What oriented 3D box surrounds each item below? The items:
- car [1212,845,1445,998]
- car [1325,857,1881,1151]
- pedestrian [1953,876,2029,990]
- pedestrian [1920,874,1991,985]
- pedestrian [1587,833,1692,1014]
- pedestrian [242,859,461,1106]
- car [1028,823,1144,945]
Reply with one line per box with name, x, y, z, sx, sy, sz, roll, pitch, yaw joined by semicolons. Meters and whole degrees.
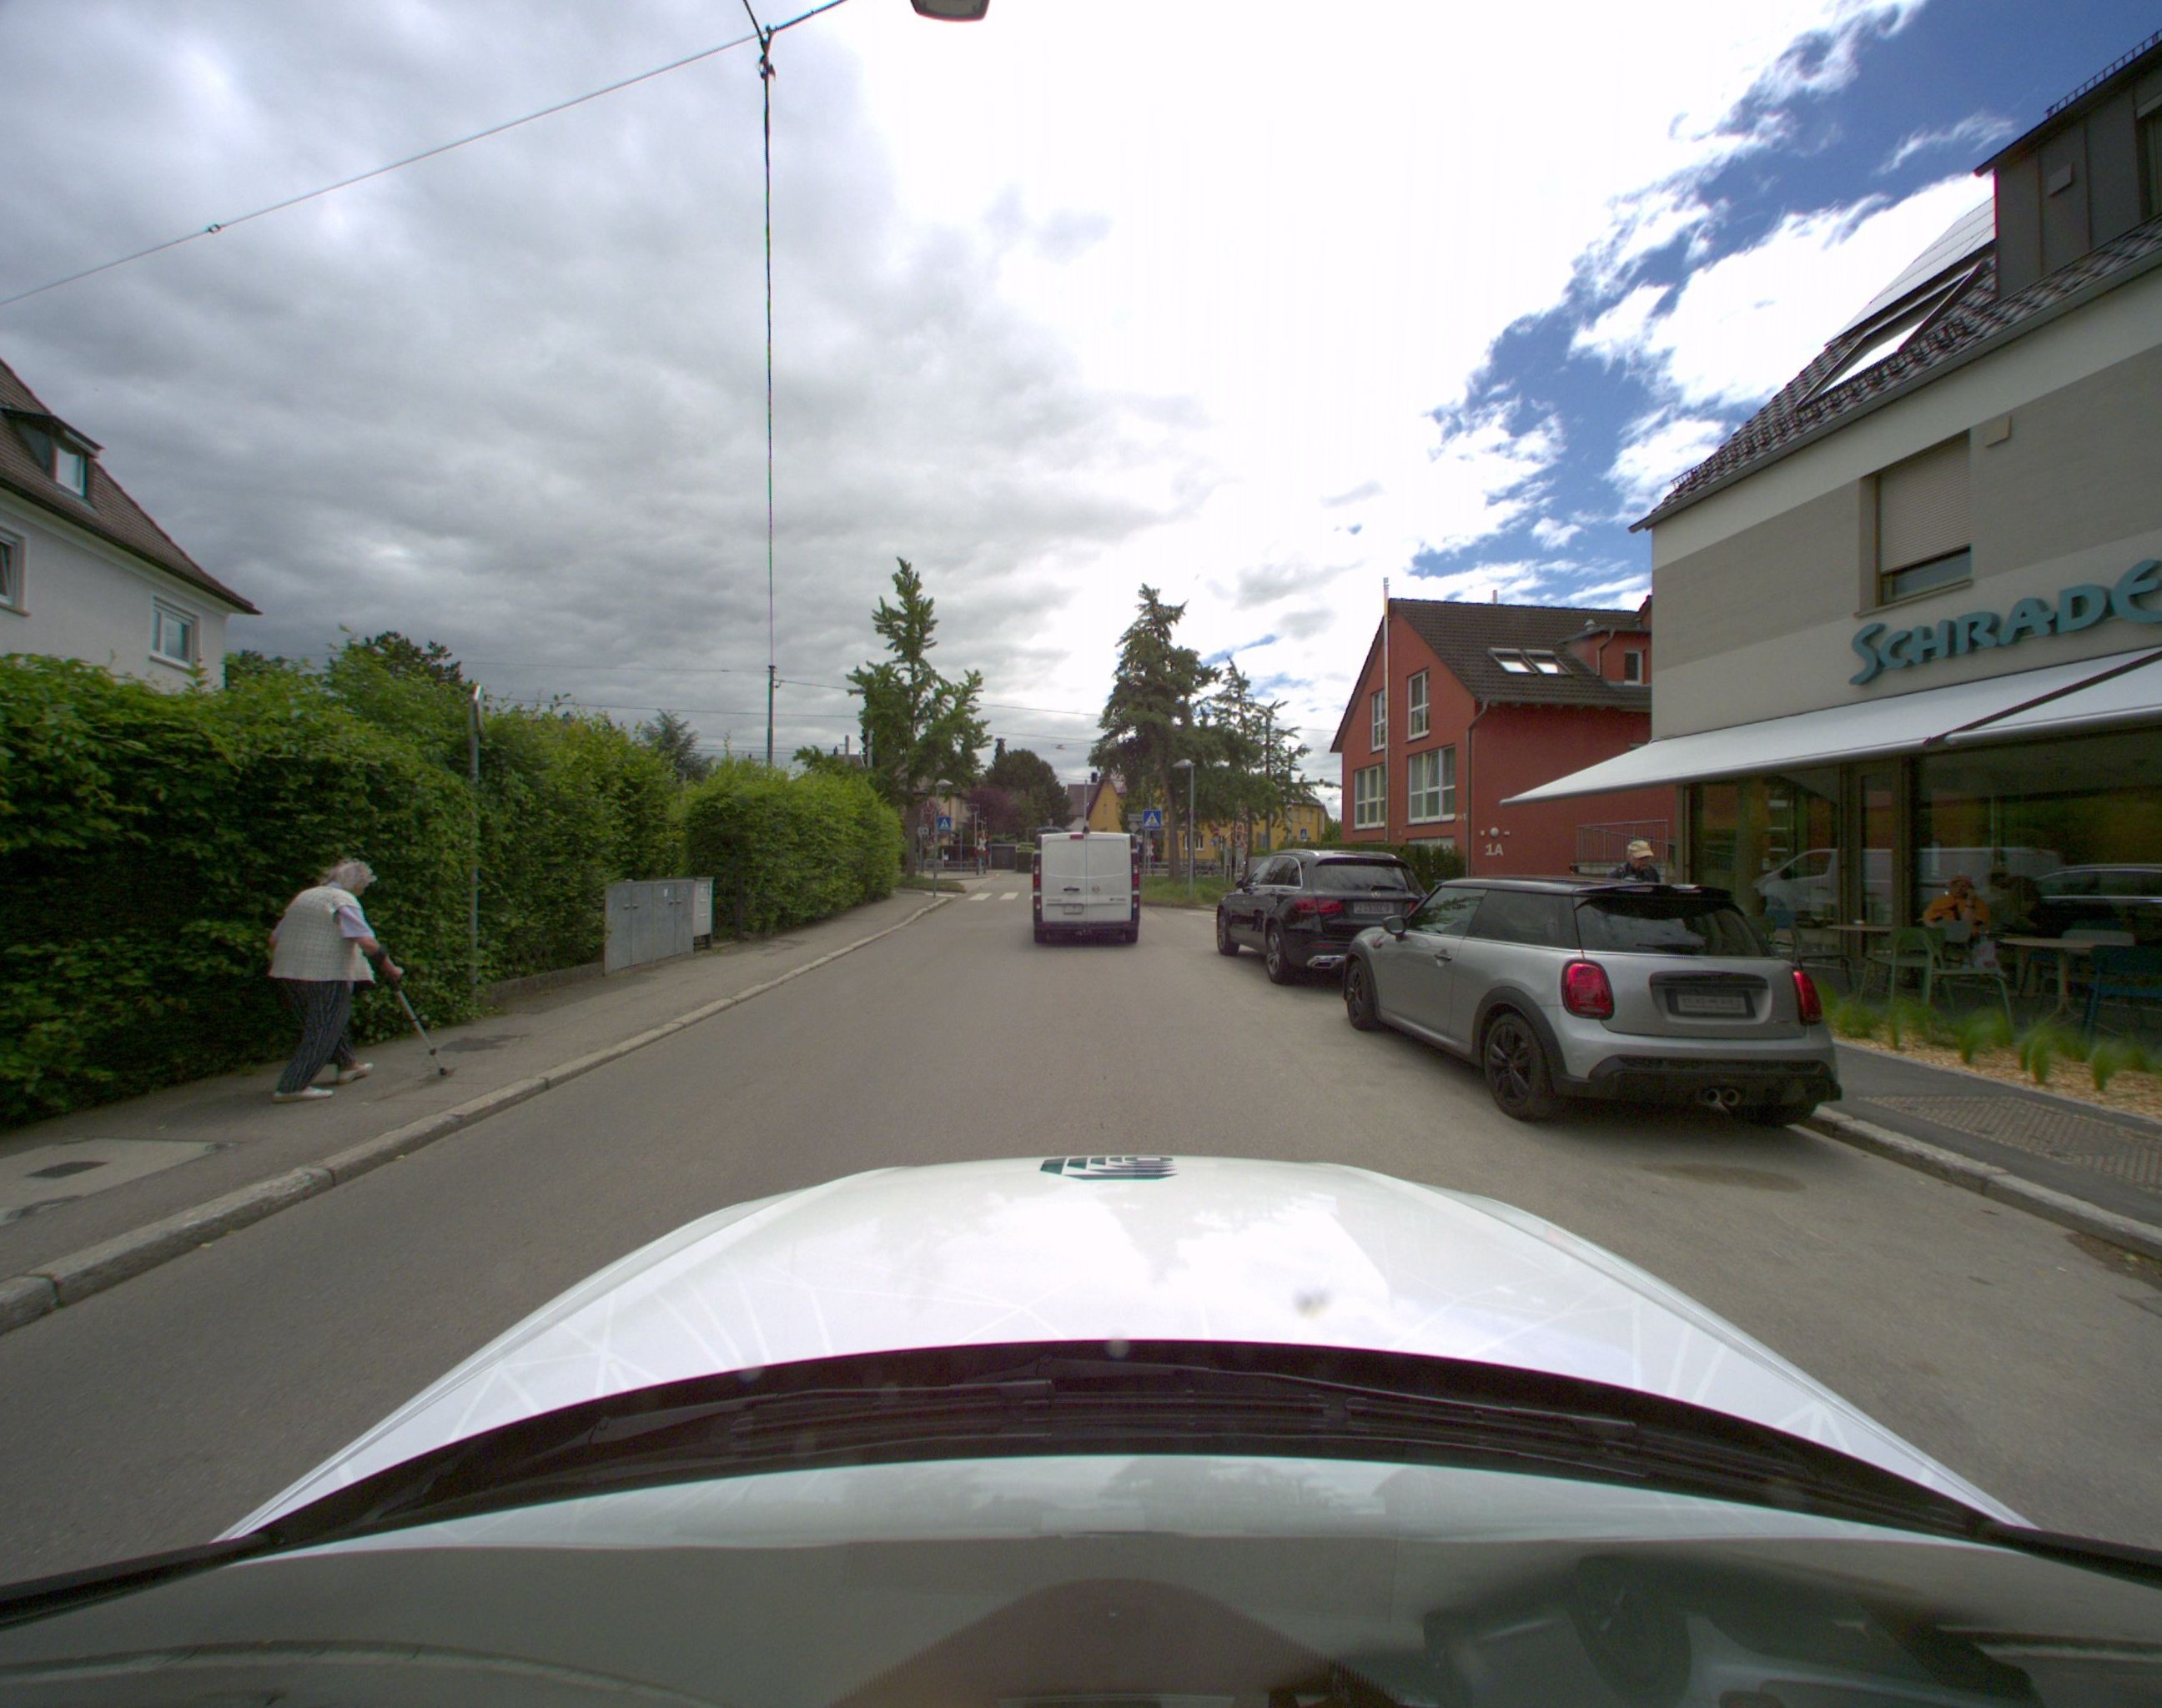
car;3.082;0.758;11.104;1.698;1.614;4.255;2;0;-2
car;3.333;0.828;6.135;1.737;1.495;3.652;2;-1;-2
pedestrian;9.552;0.816;8.552;0.420;1.165;0.324;0;-1;-2
pedestrian;9.542;0.810;8.893;0.420;1.182;0.324;0;-1;-2
pedestrian;5.200;0.630;7.606;0.588;1.607;0.529;2;-1;2
pedestrian;-4.682;0.796;5.286;0.879;1.485;0.452;3;-1;-19
car;0.016;0.469;15.730;1.911;2.002;4.434;0;1;-2
